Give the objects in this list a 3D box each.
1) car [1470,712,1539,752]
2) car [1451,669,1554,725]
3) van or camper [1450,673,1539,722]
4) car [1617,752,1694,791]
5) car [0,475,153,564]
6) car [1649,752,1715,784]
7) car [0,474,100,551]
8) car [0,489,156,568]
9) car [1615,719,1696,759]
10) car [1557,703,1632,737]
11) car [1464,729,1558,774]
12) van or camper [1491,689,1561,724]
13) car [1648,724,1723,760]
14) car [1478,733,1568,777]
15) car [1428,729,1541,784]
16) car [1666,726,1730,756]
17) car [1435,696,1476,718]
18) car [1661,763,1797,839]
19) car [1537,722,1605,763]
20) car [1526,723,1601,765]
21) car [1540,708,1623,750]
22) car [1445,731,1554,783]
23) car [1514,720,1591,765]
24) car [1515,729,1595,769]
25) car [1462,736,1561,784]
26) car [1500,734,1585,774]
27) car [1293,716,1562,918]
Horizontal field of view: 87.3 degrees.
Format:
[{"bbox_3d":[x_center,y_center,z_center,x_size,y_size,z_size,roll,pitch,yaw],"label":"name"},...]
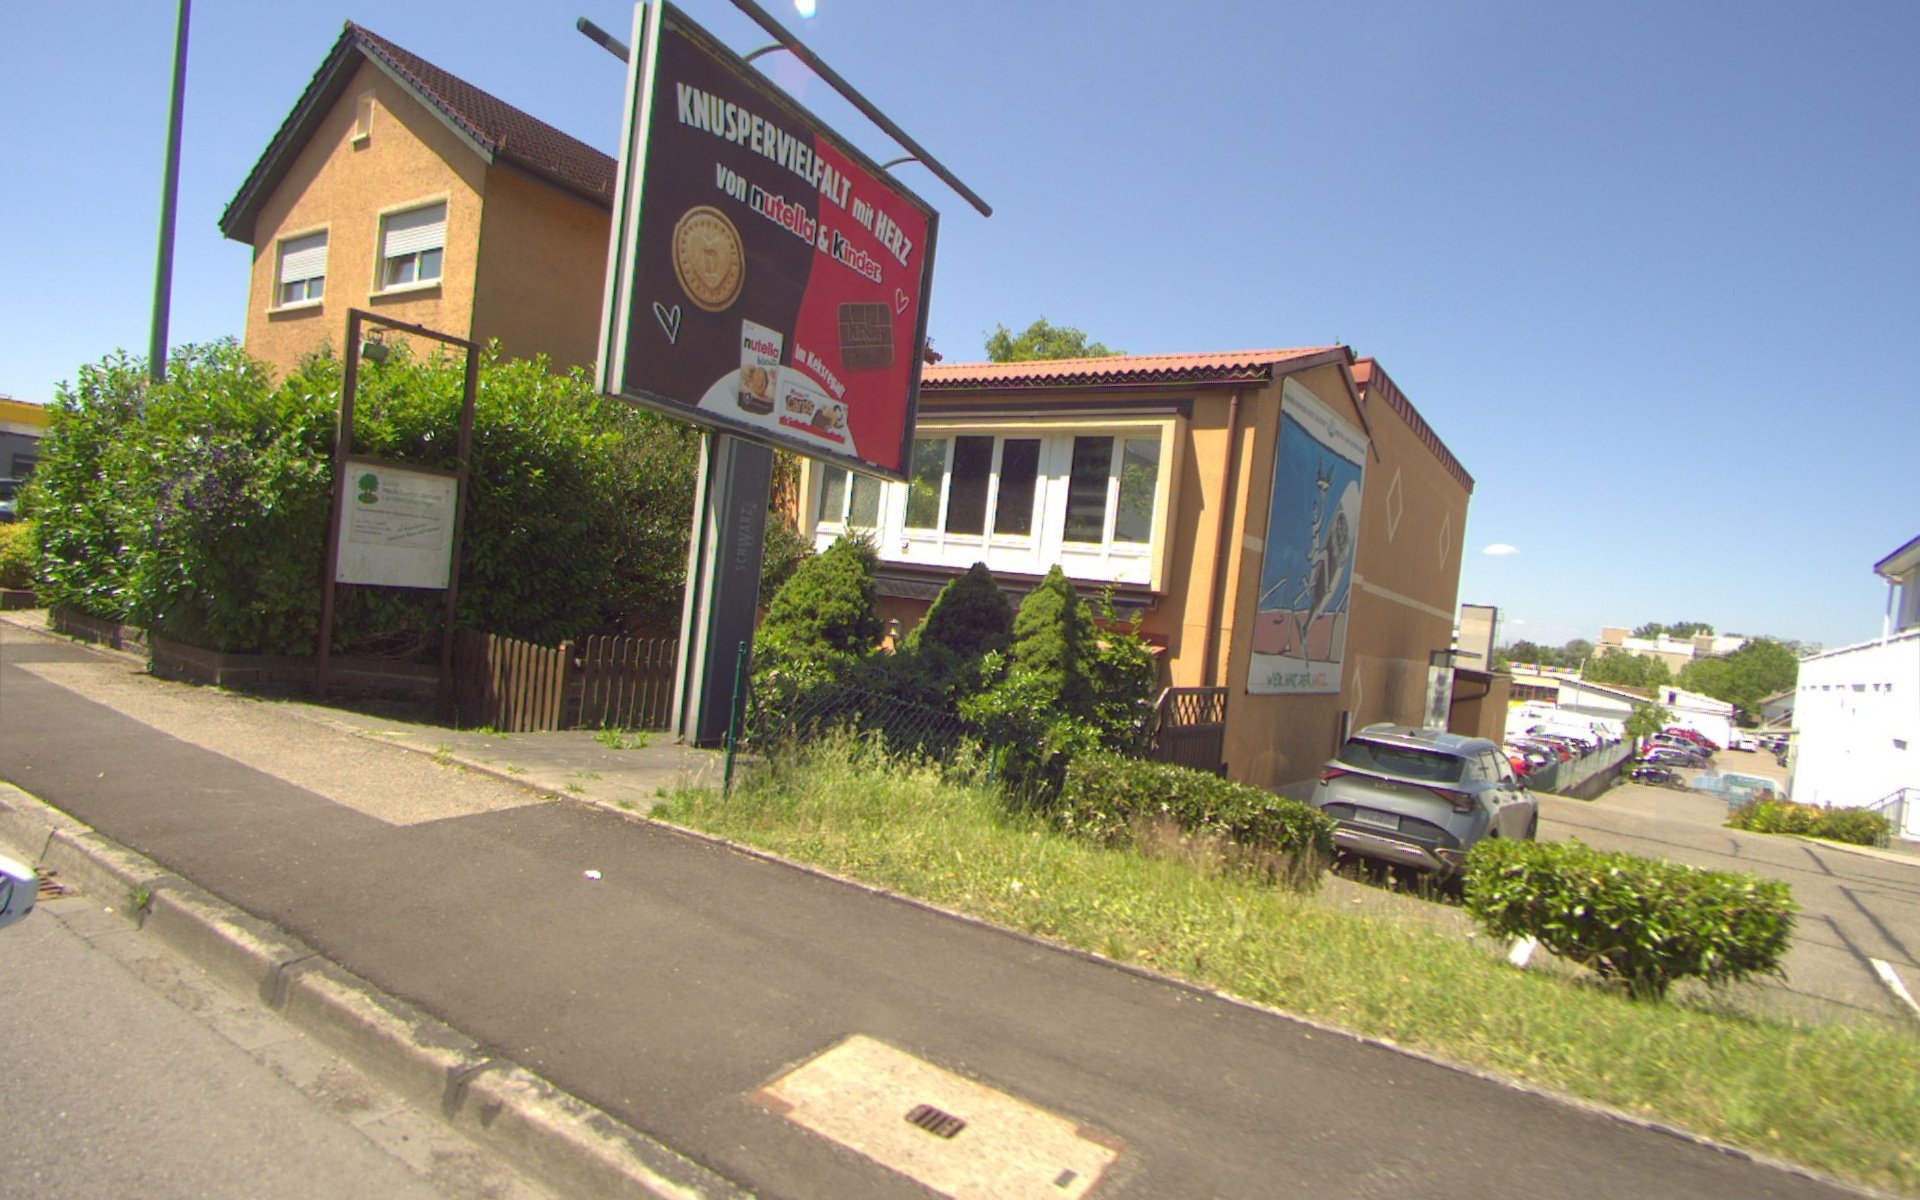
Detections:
[{"bbox_3d":[38.103,9.197,70.377,3.868,2.143,1.720,6,-2,36],"label":"car"},{"bbox_3d":[49.266,8.811,91.488,7.526,3.969,3.508,6,-2,36],"label":"car"},{"bbox_3d":[56.203,10.209,105.805,7.526,3.969,3.508,6,-2,36],"label":"van or camper"},{"bbox_3d":[44.445,10.950,64.329,3.868,1.709,1.720,6,-2,36],"label":"car"},{"bbox_3d":[-25.555,-2.304,28.342,1.661,1.858,3.902,7,-3,34],"label":"car"},{"bbox_3d":[54.334,12.633,75.807,3.868,1.709,1.720,6,-2,36],"label":"car"},{"bbox_3d":[-29.661,-2.897,30.902,1.938,1.917,4.353,7,-3,30],"label":"car"},{"bbox_3d":[-24.160,-1.944,26.846,1.915,1.483,3.618,7,-3,28],"label":"car"},{"bbox_3d":[57.879,11.559,83.831,5.272,2.364,2.414,6,-2,36],"label":"car"},{"bbox_3d":[63.124,11.881,100.171,6.044,2.436,2.501,6,-2,35],"label":"car"},{"bbox_3d":[26.185,7.173,47.822,3.639,1.475,1.720,6,-2,36],"label":"car"},{"bbox_3d":[72.908,13.730,129.553,7.246,3.341,3.342,6,-2,36],"label":"van or camper"},{"bbox_3d":[65.762,12.833,91.306,5.272,2.364,2.414,6,-2,36],"label":"car"},{"bbox_3d":[27.799,7.617,49.691,3.639,1.475,1.720,6,-2,36],"label":"car"},{"bbox_3d":[20.630,6.122,39.621,3.639,1.506,1.720,6,-2,36],"label":"car"},{"bbox_3d":[79.338,15.165,108.268,5.272,2.364,2.414,6,-2,36],"label":"car"},{"bbox_3d":[57.759,12.435,117.220,3.934,2.037,1.997,6,-2,32],"label":"car"},{"bbox_3d":[30.828,8.049,40.357,4.324,2.363,2.219,8,-1,-21],"label":"car"},{"bbox_3d":[41.237,9.581,67.892,3.628,2.143,1.696,6,-2,36],"label":"car"},{"bbox_3d":[36.601,8.696,61.000,3.639,1.913,1.720,6,-2,36],"label":"car"},{"bbox_3d":[48.750,10.098,78.951,5.272,2.364,2.414,6,-2,36],"label":"car"},{"bbox_3d":[22.130,6.396,41.277,3.639,1.475,1.720,6,-2,36],"label":"car"},{"bbox_3d":[37.284,8.940,63.338,3.868,2.139,1.720,6,-2,36],"label":"car"},{"bbox_3d":[33.715,8.409,57.004,3.639,1.612,1.719,6,-1,36],"label":"car"},{"bbox_3d":[24.875,7.169,45.422,3.639,1.475,1.720,6,-2,36],"label":"car"},{"bbox_3d":[30.610,8.067,52.907,3.639,1.475,1.720,6,-2,36],"label":"car"},{"bbox_3d":[5.708,2.360,11.971,1.856,1.661,4.227,6,-1,38],"label":"car"}]
